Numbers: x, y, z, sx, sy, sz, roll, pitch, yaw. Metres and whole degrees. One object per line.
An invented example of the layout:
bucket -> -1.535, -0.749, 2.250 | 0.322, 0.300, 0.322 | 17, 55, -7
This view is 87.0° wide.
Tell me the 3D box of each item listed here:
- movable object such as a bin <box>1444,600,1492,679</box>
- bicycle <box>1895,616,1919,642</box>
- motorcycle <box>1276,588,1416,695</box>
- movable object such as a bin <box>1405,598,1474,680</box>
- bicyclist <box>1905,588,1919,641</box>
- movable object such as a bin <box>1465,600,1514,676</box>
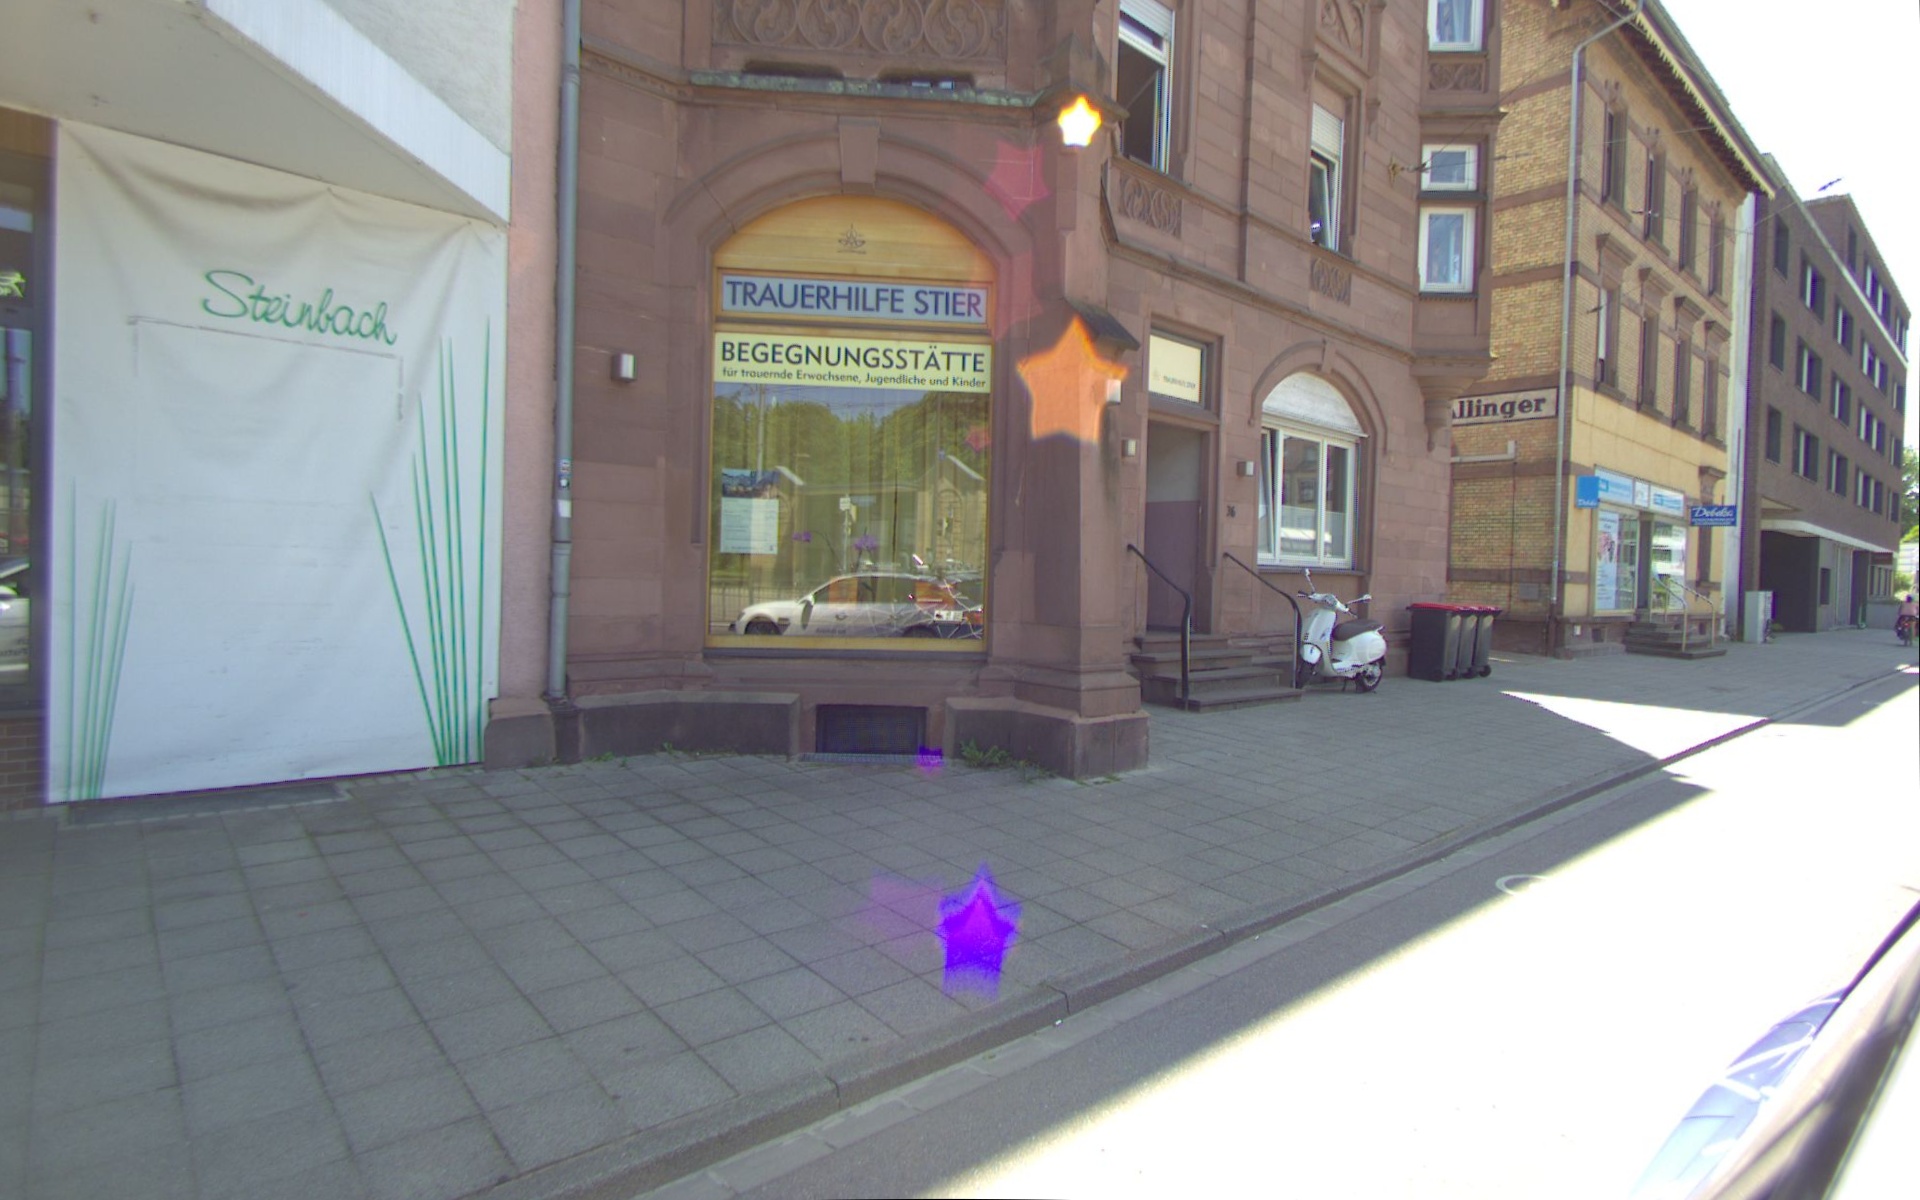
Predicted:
movable object such as a bin -> 7.209, 0.549, 14.362 | 0.549, 1.061, 0.376 | 0, 4, -42
bicycle -> 31.813, 0.951, 33.446 | 1.869, 0.807, 0.691 | 1, 1, -26
motorcycle -> 4.546, 0.459, 11.862 | 1.843, 1.163, 0.529 | 1, 1, -33
movable object such as a bin -> 6.683, 0.523, 14.105 | 0.549, 1.061, 0.649 | 0, 4, -42
bicyclist -> 31.987, 0.478, 33.503 | 0.909, 1.744, 0.673 | 1, 1, -25
movable object such as a bin -> 7.718, 0.541, 14.748 | 0.646, 1.061, 0.376 | 0, 4, -42
